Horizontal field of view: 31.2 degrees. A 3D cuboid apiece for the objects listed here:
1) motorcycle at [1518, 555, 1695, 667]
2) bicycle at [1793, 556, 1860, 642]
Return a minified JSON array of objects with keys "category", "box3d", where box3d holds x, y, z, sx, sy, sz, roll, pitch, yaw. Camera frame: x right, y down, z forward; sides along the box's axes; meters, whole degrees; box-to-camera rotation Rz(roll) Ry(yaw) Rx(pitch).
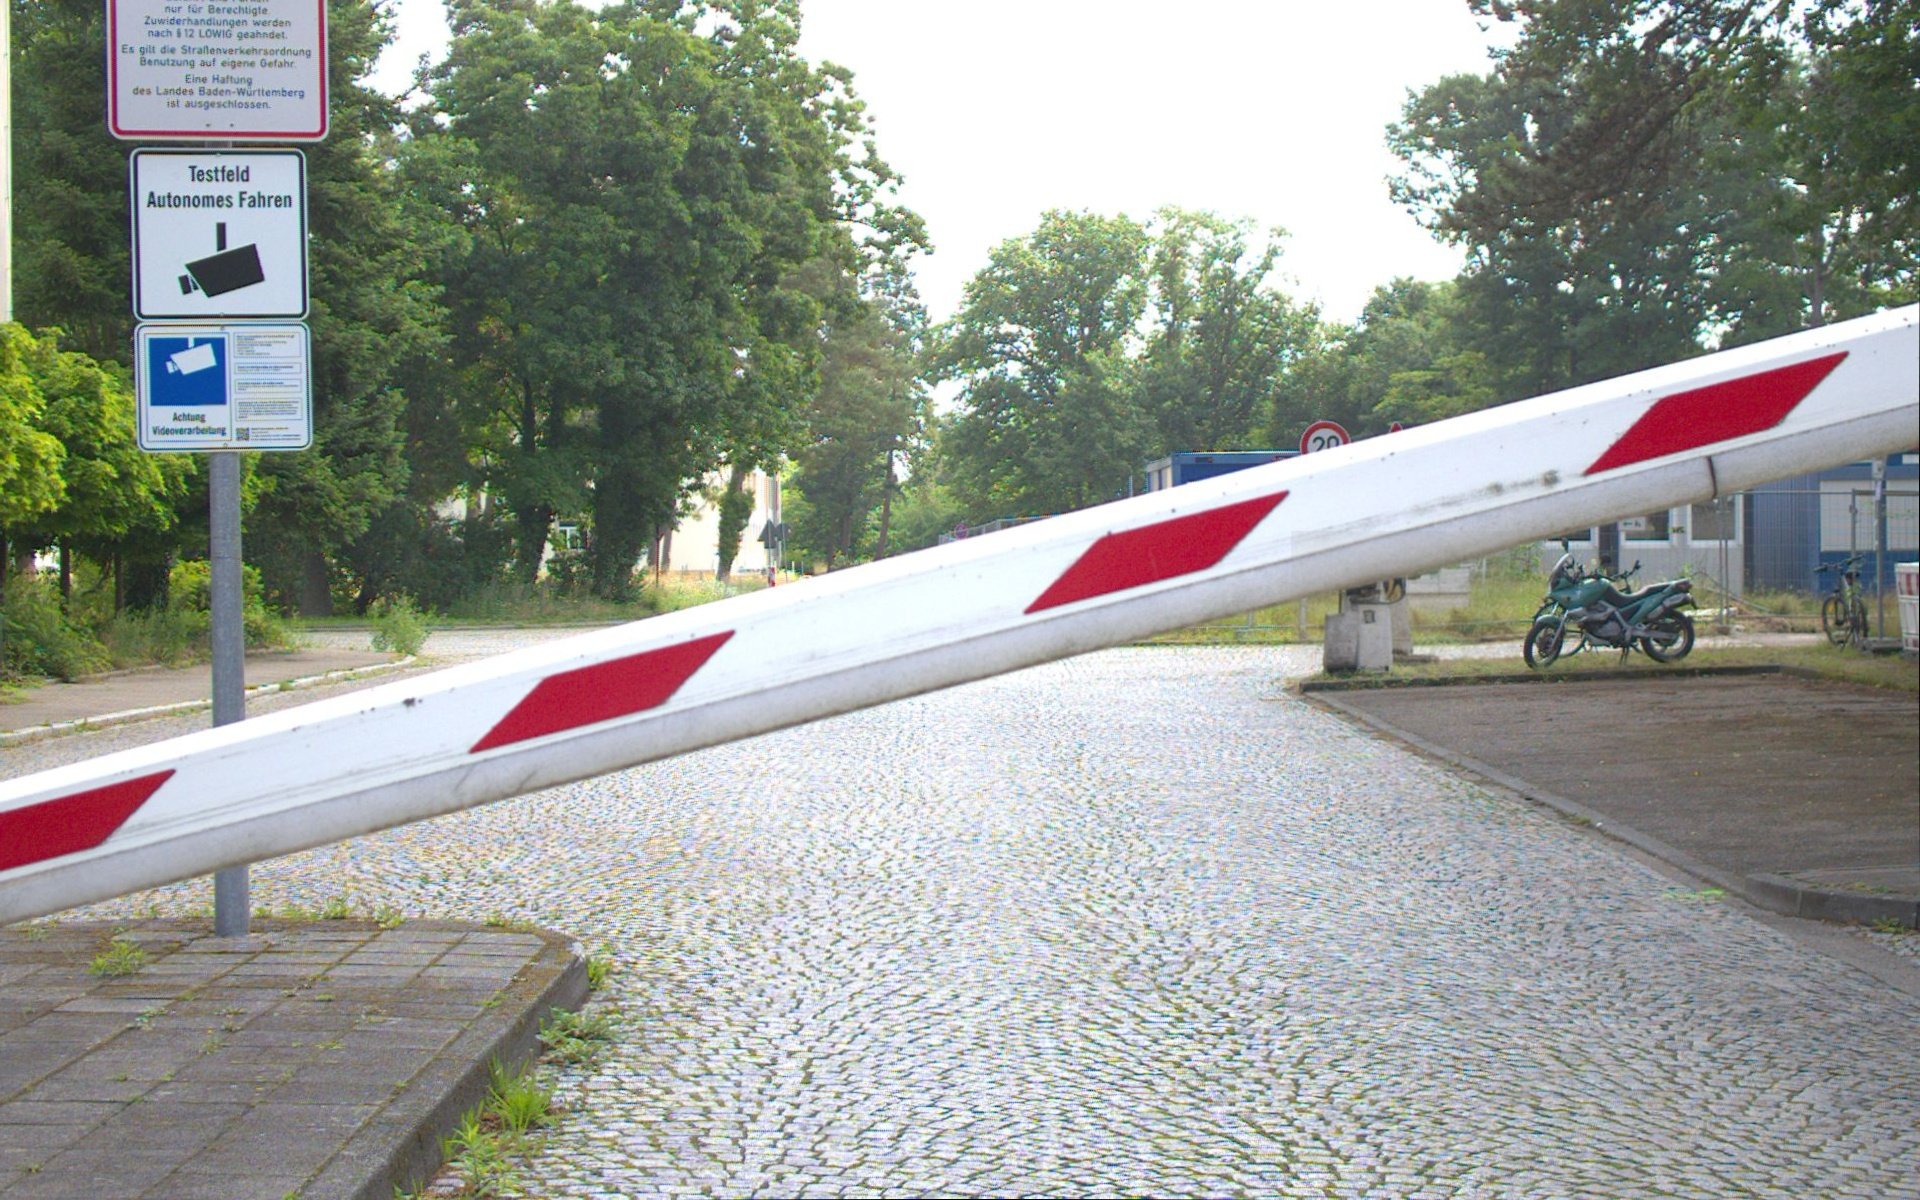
[{"category":"motorcycle","box3d":[7.540,0.122,40.121,1.956,1.191,0.461,-2,6,-1]},{"category":"bicycle","box3d":[10.493,0.000,41.659,0.332,1.004,1.726,-1,-1,-1]}]
